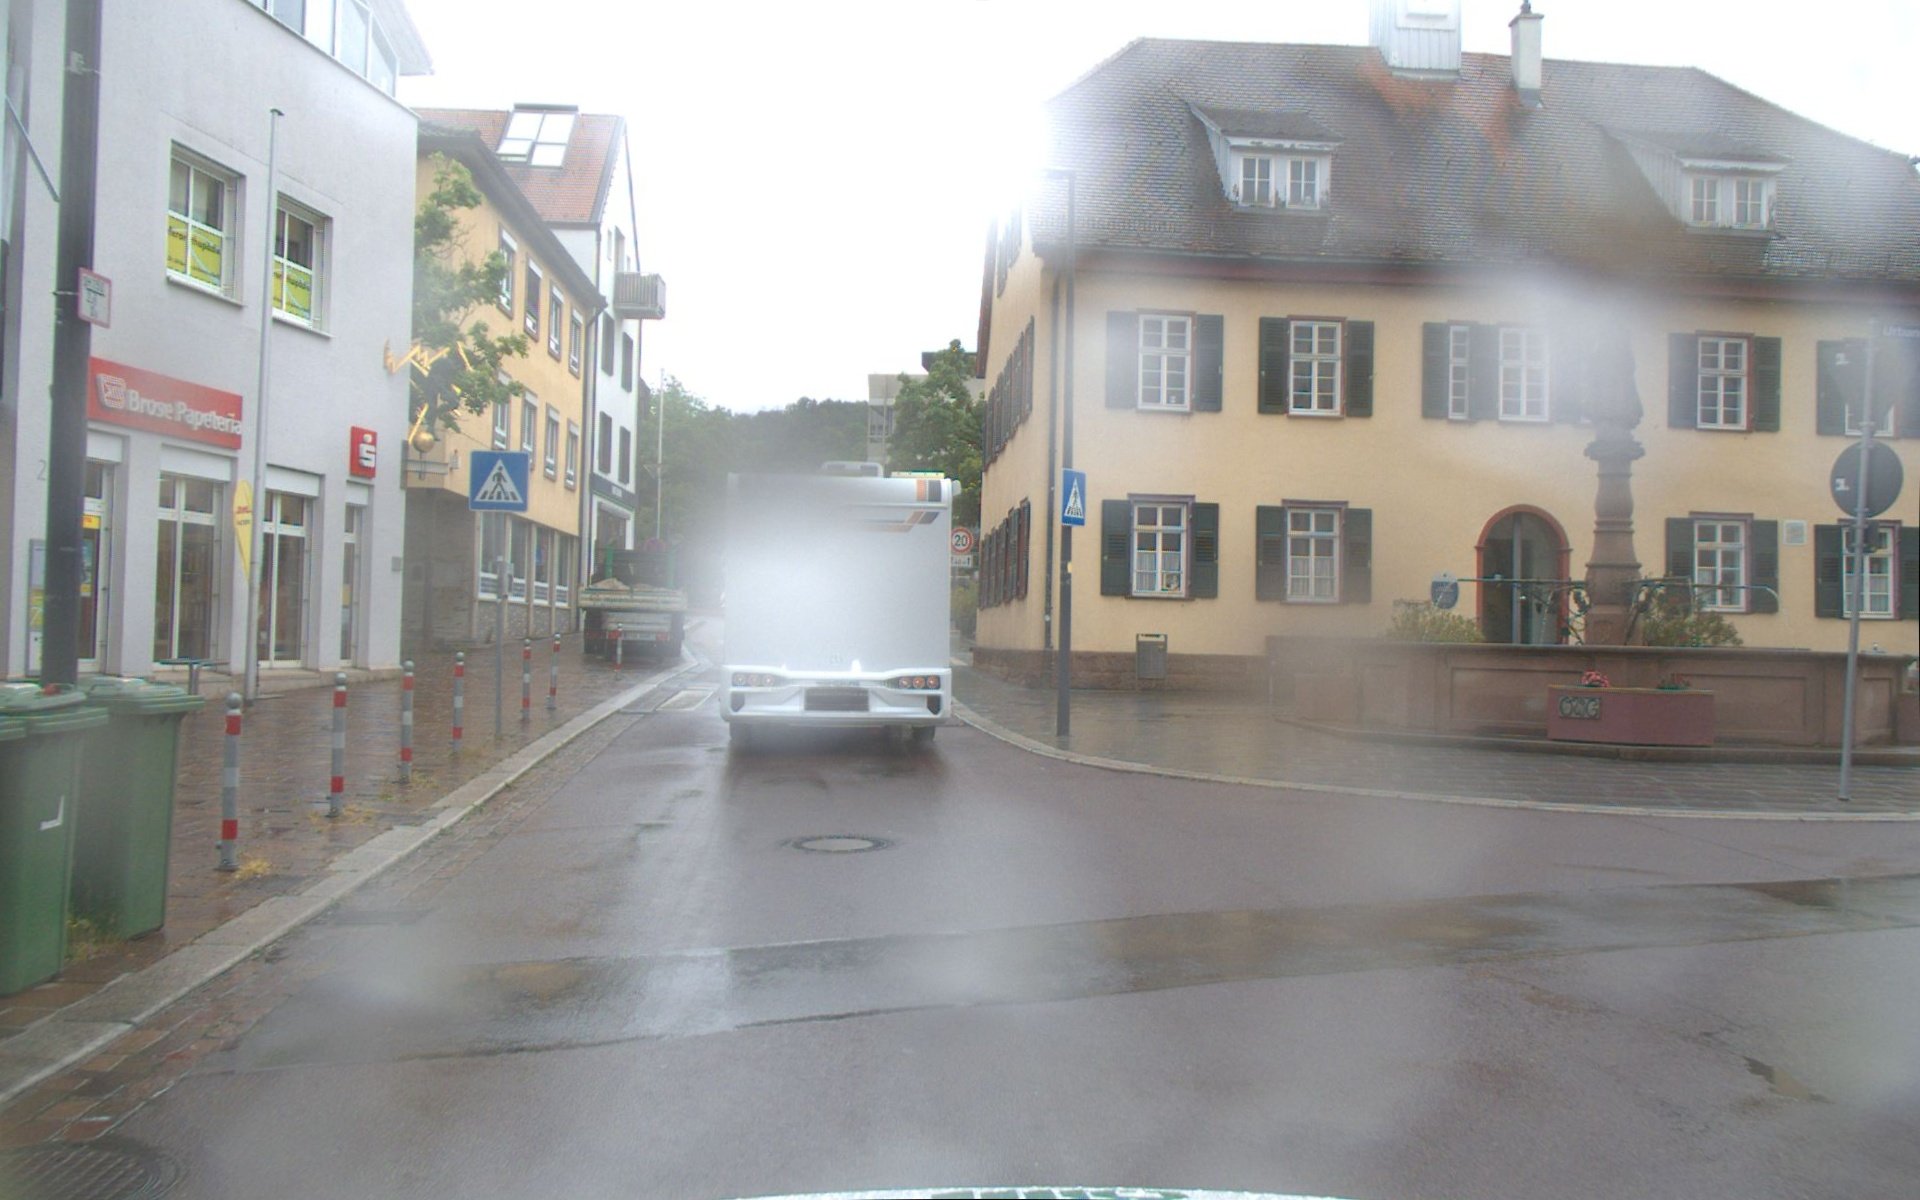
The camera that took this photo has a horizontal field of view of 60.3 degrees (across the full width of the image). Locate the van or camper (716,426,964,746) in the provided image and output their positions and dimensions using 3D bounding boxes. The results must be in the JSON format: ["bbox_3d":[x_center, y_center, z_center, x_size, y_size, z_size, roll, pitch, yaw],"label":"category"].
[{"bbox_3d":[-1.517,-0.037,18.777,2.282,2.970,6.382,1,-2,-7],"label":"van or camper"}]

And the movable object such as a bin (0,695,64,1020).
[{"bbox_3d":[-3.603,0.862,5.537,0.802,1.069,0.699,1,-2,-4],"label":"movable object such as a bin"}]

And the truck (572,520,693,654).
[{"bbox_3d":[-7.451,-0.203,38.118,2.237,2.806,5.560,1,-2,-7],"label":"truck"}]

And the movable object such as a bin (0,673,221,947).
[{"bbox_3d":[-3.673,0.873,7.041,0.750,1.069,0.523,3,-2,-4],"label":"movable object such as a bin"}]

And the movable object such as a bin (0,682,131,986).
[{"bbox_3d":[-3.616,0.849,6.176,0.750,1.069,0.523,1,-2,-4],"label":"movable object such as a bin"}]
